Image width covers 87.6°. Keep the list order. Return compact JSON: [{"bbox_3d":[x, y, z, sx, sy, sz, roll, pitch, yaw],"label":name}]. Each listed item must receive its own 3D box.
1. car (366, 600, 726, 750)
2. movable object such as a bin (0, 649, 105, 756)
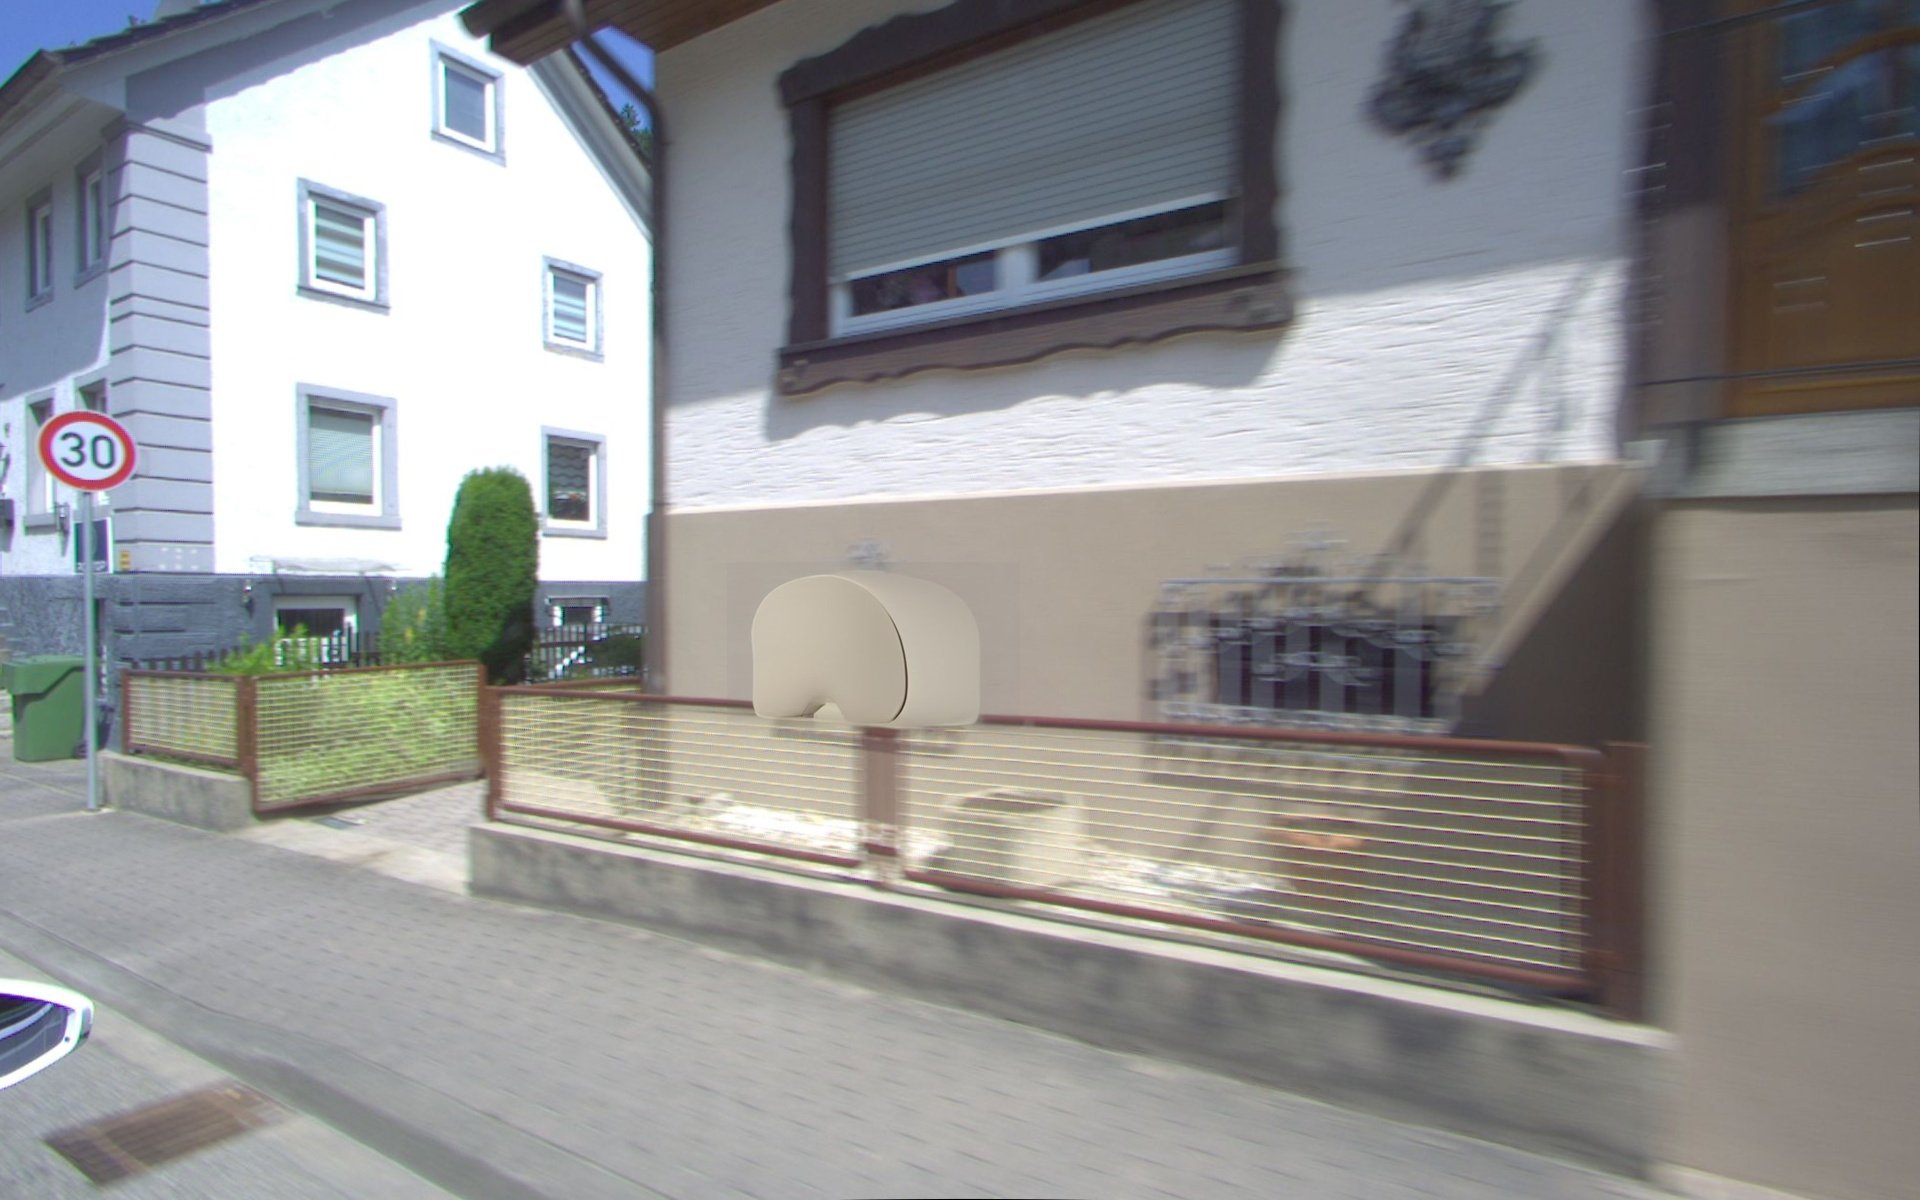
[{"bbox_3d":[-5.134,0.910,12.903,1.776,1.610,3.950,0,-3,35],"label":"car"},{"bbox_3d":[-9.573,1.053,10.546,0.609,1.034,0.702,0,1,34],"label":"movable object such as a bin"}]
